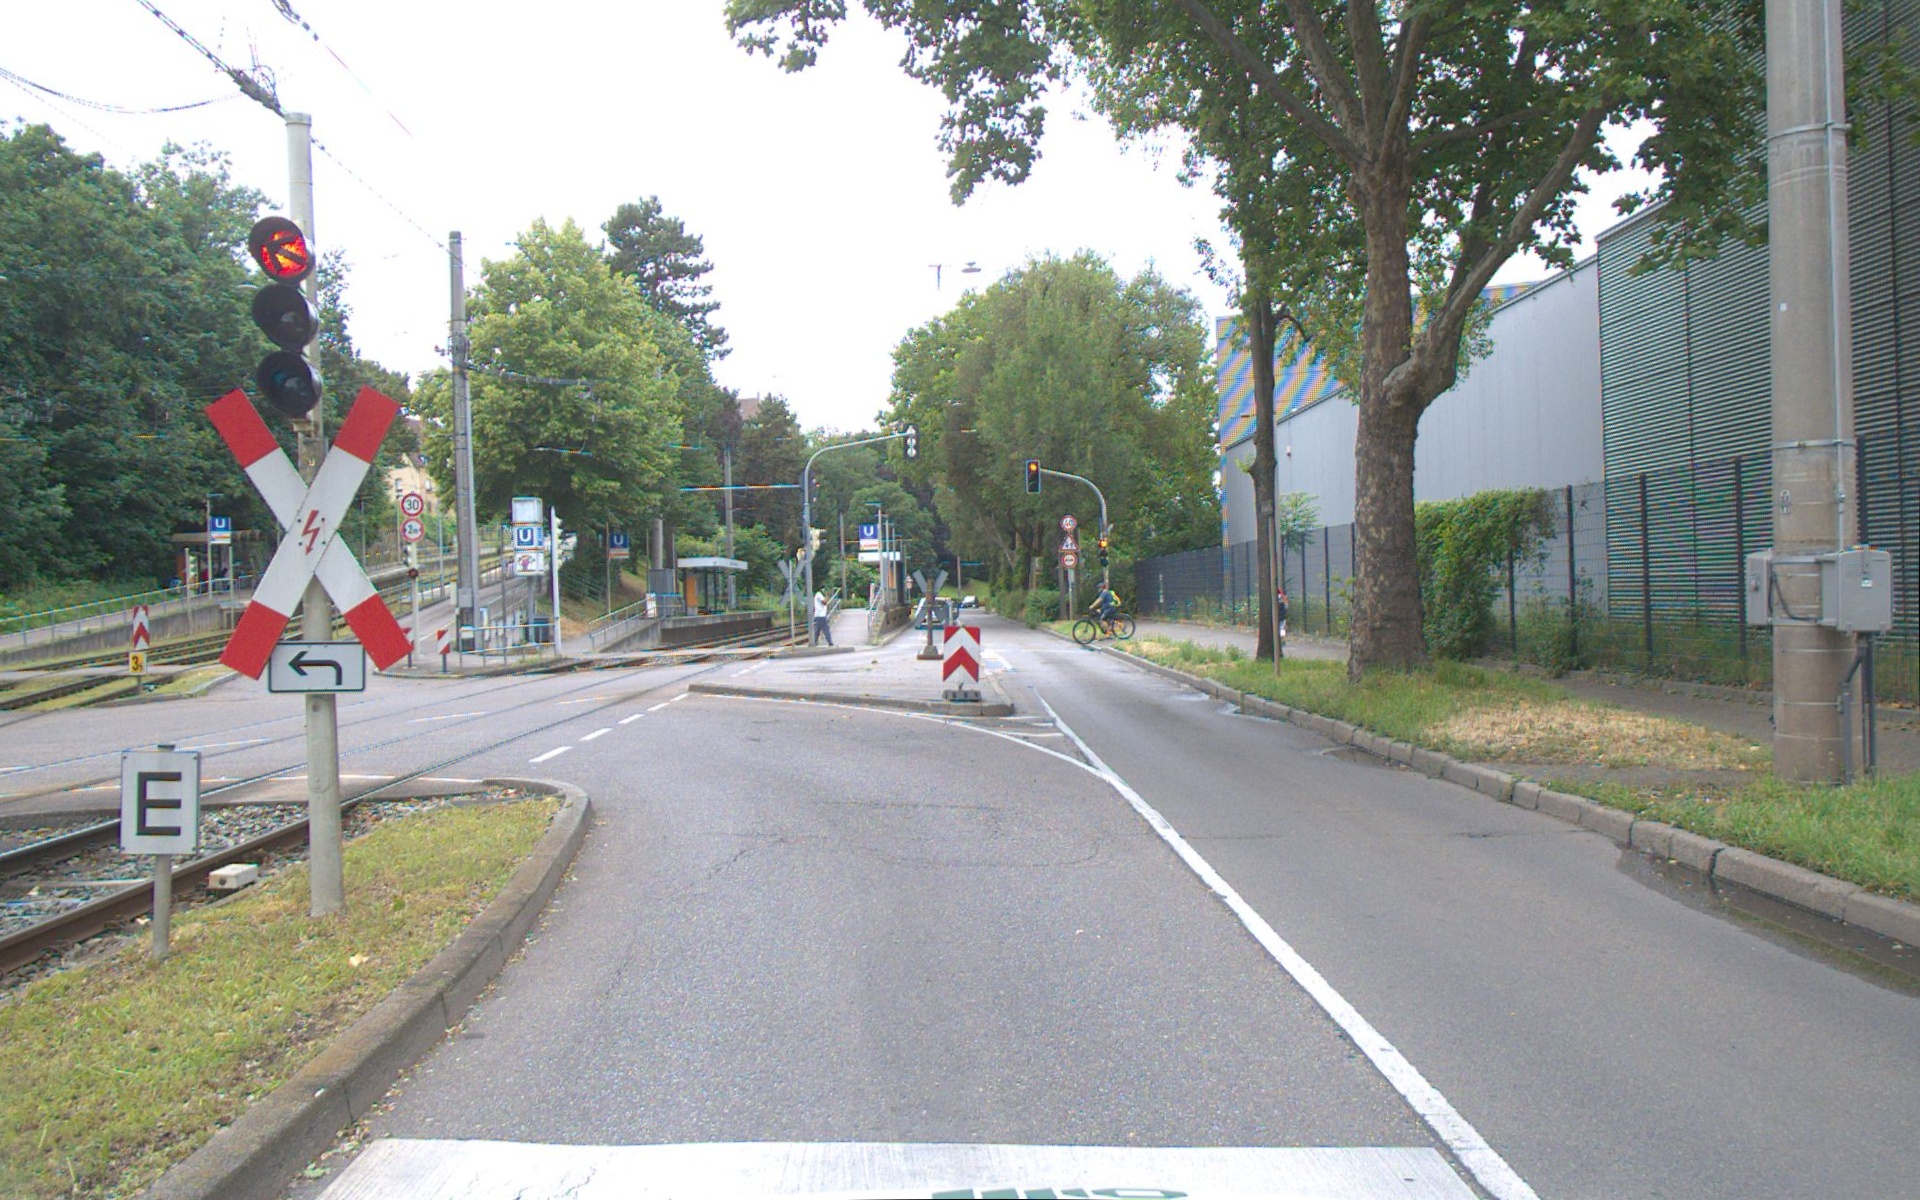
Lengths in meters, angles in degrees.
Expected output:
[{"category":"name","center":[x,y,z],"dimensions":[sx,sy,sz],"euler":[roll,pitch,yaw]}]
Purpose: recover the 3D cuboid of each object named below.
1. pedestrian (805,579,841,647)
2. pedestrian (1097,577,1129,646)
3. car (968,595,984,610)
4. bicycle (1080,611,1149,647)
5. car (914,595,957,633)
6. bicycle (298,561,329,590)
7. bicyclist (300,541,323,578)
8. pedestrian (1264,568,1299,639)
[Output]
[{"category":"pedestrian","center":[-3.886,0.376,46.883],"dimensions":[0.888,1.885,0.771],"euler":[-2,0,-1]},{"category":"pedestrian","center":[4.662,0.353,50.408],"dimensions":[0.911,2.049,0.668],"euler":[-2,0,4]},{"category":"car","center":[2.081,0.328,212.361],"dimensions":[1.953,1.690,4.000],"euler":[4,0,0]},{"category":"bicycle","center":[4.705,0.885,50.407],"dimensions":[2.031,1.024,0.668],"euler":[-2,0,5]},{"category":"car","center":[-1.159,0.628,77.996],"dimensions":[1.953,1.691,3.999],"euler":[-2,0,-1]},{"category":"bicycle","center":[-33.305,-1.283,85.275],"dimensions":[0.809,1.366,2.991],"euler":[-2,3,-9]},{"category":"bicyclist","center":[-33.299,-2.078,84.900],"dimensions":[0.806,1.881,1.050],"euler":[-2,3,-9]},{"category":"pedestrian","center":[7.412,0.075,38.158],"dimensions":[0.652,1.580,0.935],"euler":[-2,0,5]}]
